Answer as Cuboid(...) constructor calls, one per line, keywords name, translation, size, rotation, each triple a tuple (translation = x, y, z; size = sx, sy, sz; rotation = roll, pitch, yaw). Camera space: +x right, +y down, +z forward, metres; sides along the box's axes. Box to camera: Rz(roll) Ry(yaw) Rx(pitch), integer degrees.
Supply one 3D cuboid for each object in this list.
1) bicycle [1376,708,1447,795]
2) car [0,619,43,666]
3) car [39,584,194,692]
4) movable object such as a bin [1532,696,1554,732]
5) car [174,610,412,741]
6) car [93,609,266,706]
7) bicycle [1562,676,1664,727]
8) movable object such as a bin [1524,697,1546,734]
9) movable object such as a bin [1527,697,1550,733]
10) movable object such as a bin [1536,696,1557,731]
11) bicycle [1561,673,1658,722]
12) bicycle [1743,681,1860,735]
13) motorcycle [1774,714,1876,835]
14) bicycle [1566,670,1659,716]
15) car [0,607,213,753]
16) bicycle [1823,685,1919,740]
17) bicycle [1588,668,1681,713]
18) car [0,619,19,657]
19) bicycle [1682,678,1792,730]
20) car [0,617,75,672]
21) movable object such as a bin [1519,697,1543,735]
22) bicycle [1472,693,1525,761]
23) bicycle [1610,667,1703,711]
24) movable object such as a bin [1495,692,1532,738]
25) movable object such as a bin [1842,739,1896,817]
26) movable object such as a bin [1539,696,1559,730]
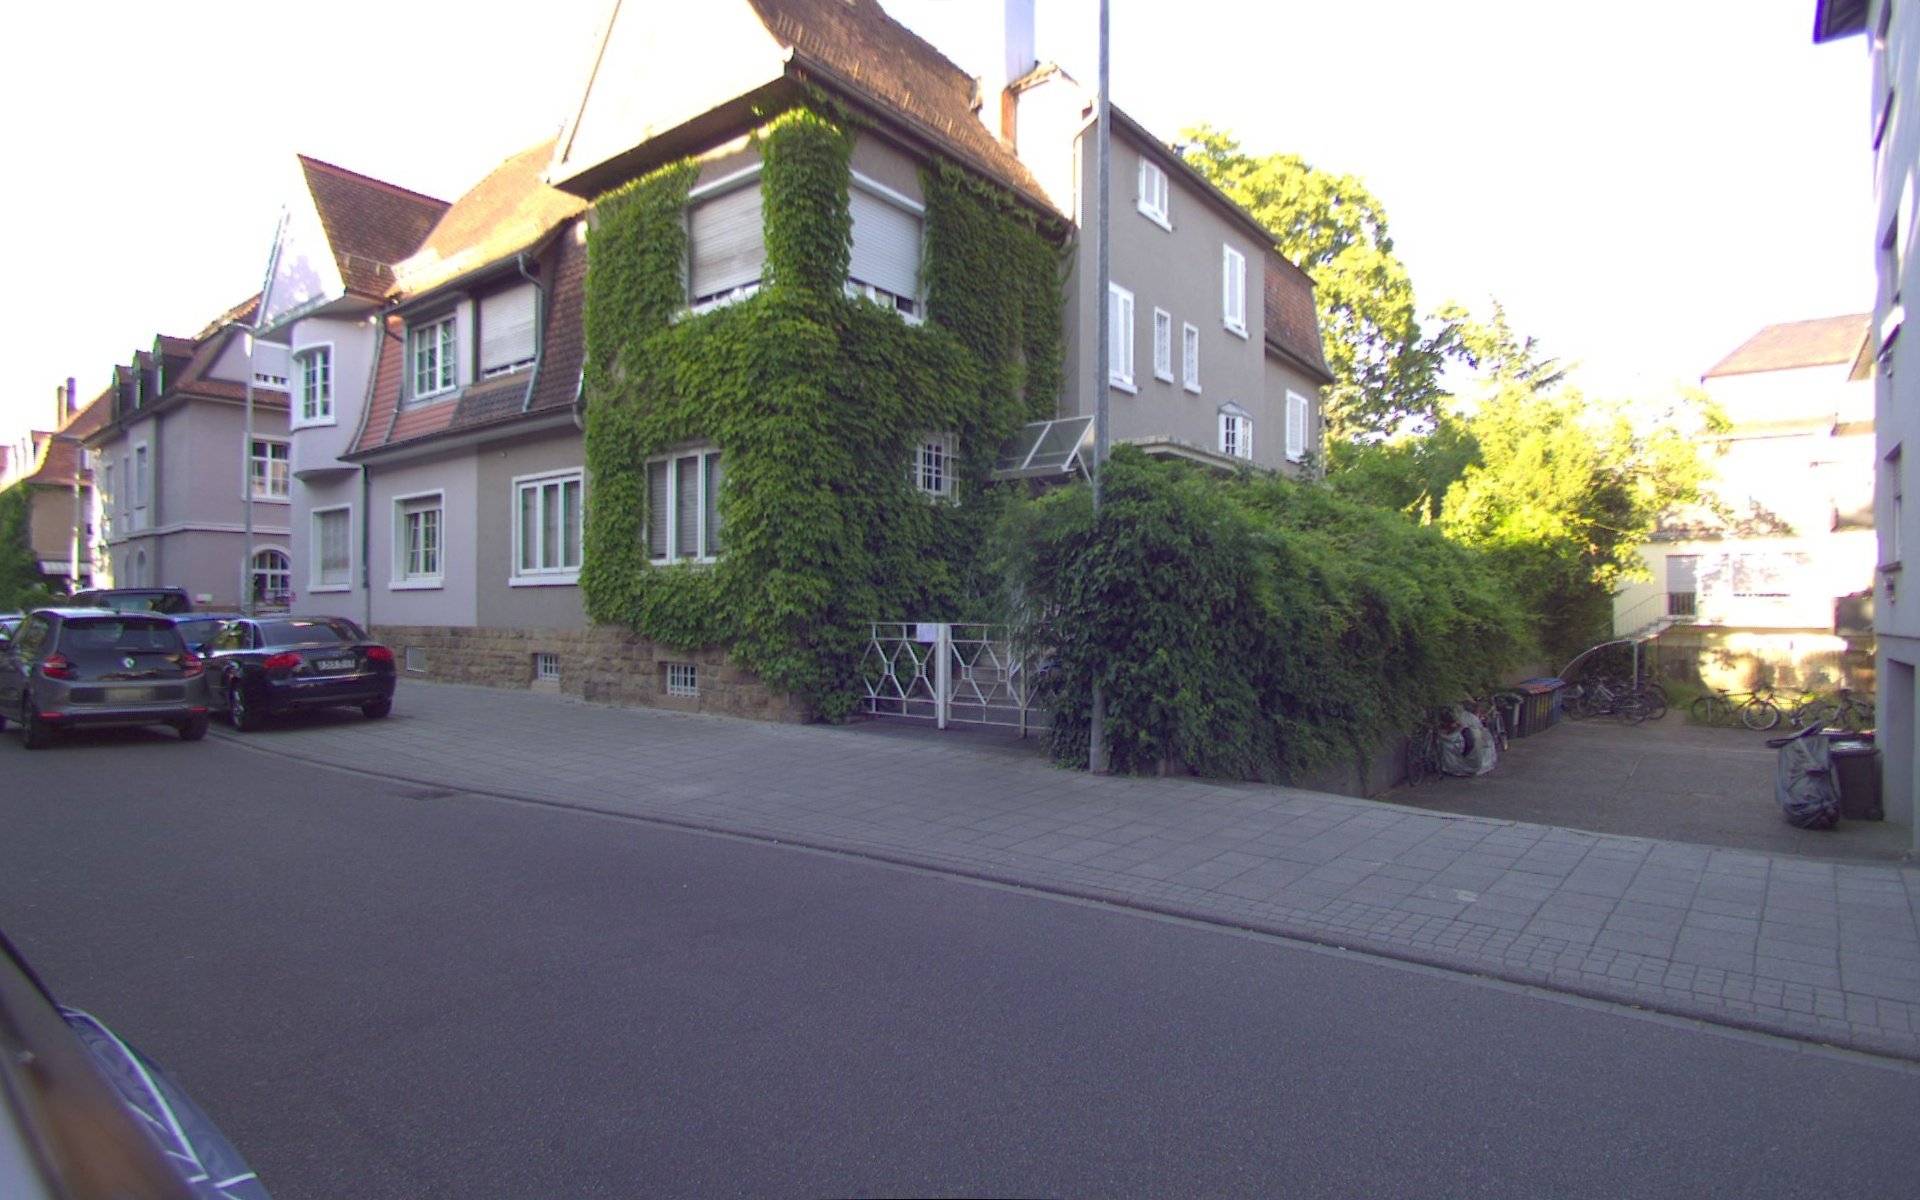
Cuboid(name="bicycle", translation=(6.779, 2.236, 15.153), size=(0.514, 1.027, 1.914), rotation=(1, 0, 38))
Cuboid(name="car", translation=(-30.306, 1.318, 31.914), size=(3.942, 1.381, 1.522), rotation=(-1, 1, 40))
Cuboid(name="car", translation=(-17.642, 0.711, 21.102), size=(4.308, 1.987, 1.698), rotation=(0, 2, 40))
Cuboid(name="movable object such as a bin", translation=(13.281, 2.593, 23.062), size=(0.367, 0.764, 0.359), rotation=(-1, -4, 41))
Cuboid(name="car", translation=(-9.270, 0.911, 13.939), size=(4.023, 1.439, 1.729), rotation=(0, 2, 42))
Cuboid(name="car", translation=(-13.992, 0.935, 18.071), size=(4.021, 1.475, 1.591), rotation=(0, 2, 40))
Cuboid(name="bicycle", translation=(16.270, 2.514, 25.262), size=(2.068, 1.028, 0.634), rotation=(1, 3, 41))
Cuboid(name="movable object such as a bin", translation=(12.767, 2.554, 22.467), size=(0.381, 0.779, 0.359), rotation=(-1, -4, 41))
Cuboid(name="movable object such as a bin", translation=(13.018, 2.579, 22.769), size=(0.375, 0.764, 0.359), rotation=(-1, -4, 41))
Cuboid(name="movable object such as a bin", translation=(13.533, 2.609, 23.359), size=(0.367, 0.764, 0.359), rotation=(-1, -4, 41))
Cuboid(name="bicycle", translation=(16.835, 2.506, 26.274), size=(2.068, 1.028, 0.565), rotation=(1, 3, 41))
Cuboid(name="bicycle", translation=(19.604, 2.497, 23.629), size=(2.068, 1.028, 0.634), rotation=(1, 3, 41))
Cuboid(name="motorcycle", translation=(10.737, 2.122, 12.617), size=(0.757, 1.261, 1.575), rotation=(-1, -3, 34))
Cuboid(name="bicycle", translation=(17.695, 2.494, 27.476), size=(2.068, 1.028, 0.608), rotation=(1, 3, 41))
Cuboid(name="car", translation=(-10.634, 0.886, 12.263), size=(3.587, 1.513, 1.600), rotation=(-1, -3, 38))
Cuboid(name="bicycle", translation=(20.689, 2.518, 22.666), size=(2.068, 1.028, 0.634), rotation=(1, 3, 41))
Cuboid(name="bicycle", translation=(18.613, 2.482, 27.942), size=(2.068, 1.028, 0.608), rotation=(1, 3, 41))
Cuboid(name="car", translation=(-36.540, 1.426, 37.688), size=(3.942, 1.381, 1.698), rotation=(-1, 1, 40))
Cuboid(name="bicycle", translation=(18.712, 2.482, 24.397), size=(2.068, 1.028, 0.634), rotation=(1, 3, 41))
Cuboid(name="car", translation=(-26.357, 1.216, 28.353), size=(4.331, 1.381, 1.698), rotation=(-1, 1, 40))
Cuboid(name="movable object such as a bin", translation=(12.497, 2.536, 22.164), size=(0.398, 0.779, 0.359), rotation=(-1, -4, 41))
Cuboid(name="bicycle", translation=(9.954, 2.311, 18.676), size=(0.514, 1.027, 1.914), rotation=(1, 0, 38))
Cuboid(name="bicycle", translation=(19.414, 2.472, 28.247), size=(2.068, 1.028, 0.561), rotation=(1, 3, 41))
Cuboid(name="movable object such as a bin", translation=(11.540, 2.393, 21.099), size=(0.576, 0.886, 0.488), rotation=(0, -3, 41))
Cuboid(name="movable object such as a bin", translation=(11.758, 2.288, 13.102), size=(0.432, 0.894, 0.717), rotation=(-1, -3, 37))
Cuboid(name="movable object such as a bin", translation=(13.784, 2.633, 23.668), size=(0.346, 0.764, 0.359), rotation=(-1, -4, 41))
